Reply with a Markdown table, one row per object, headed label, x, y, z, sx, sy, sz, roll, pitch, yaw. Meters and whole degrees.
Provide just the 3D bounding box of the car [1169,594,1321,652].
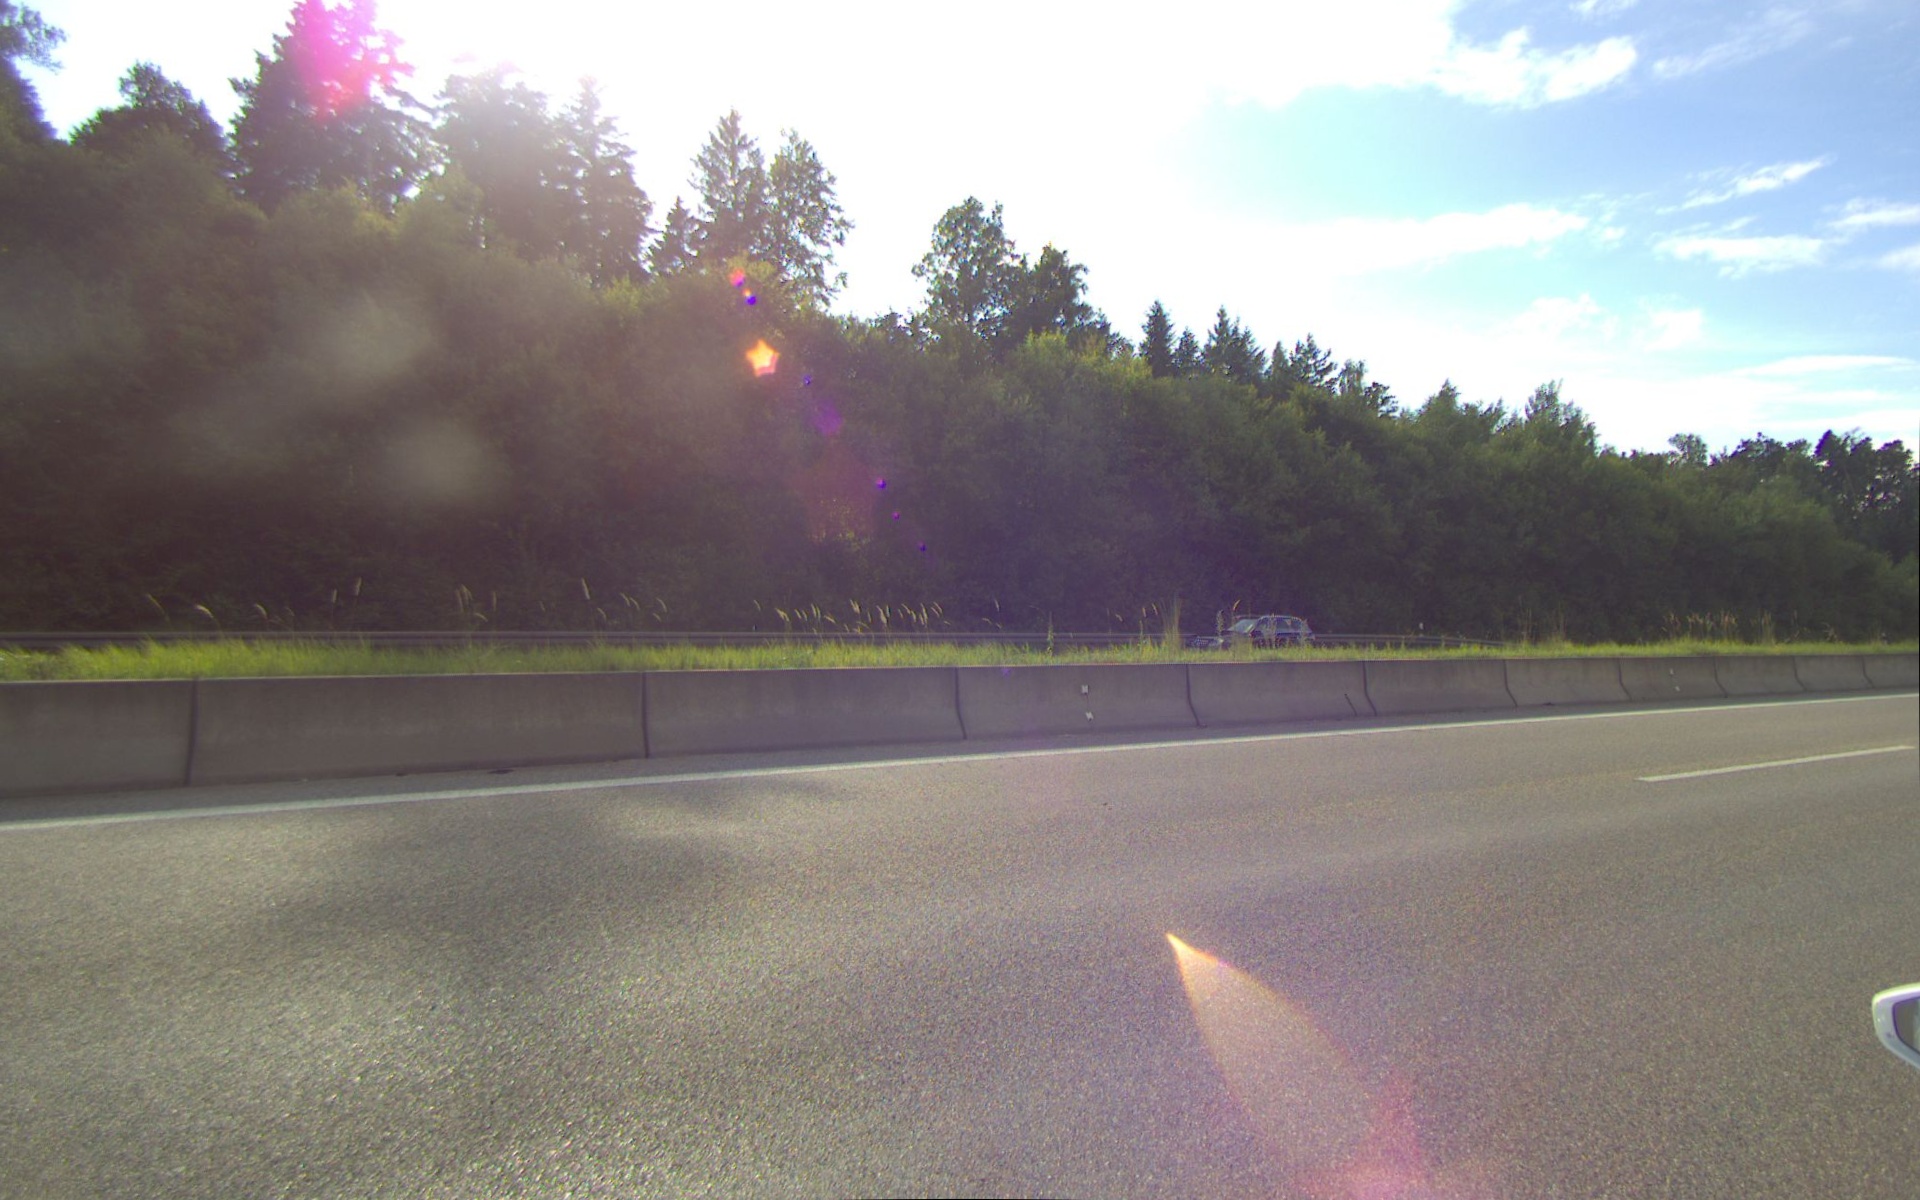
| label | x | y | z | sx | sy | sz | roll | pitch | yaw |
| --- | --- | --- | --- | --- | --- | --- | --- | --- | --- |
| car | 8.703 | 0.690 | 30.624 | 4.517 | 1.649 | 1.870 | 1 | 0 | -30 |
